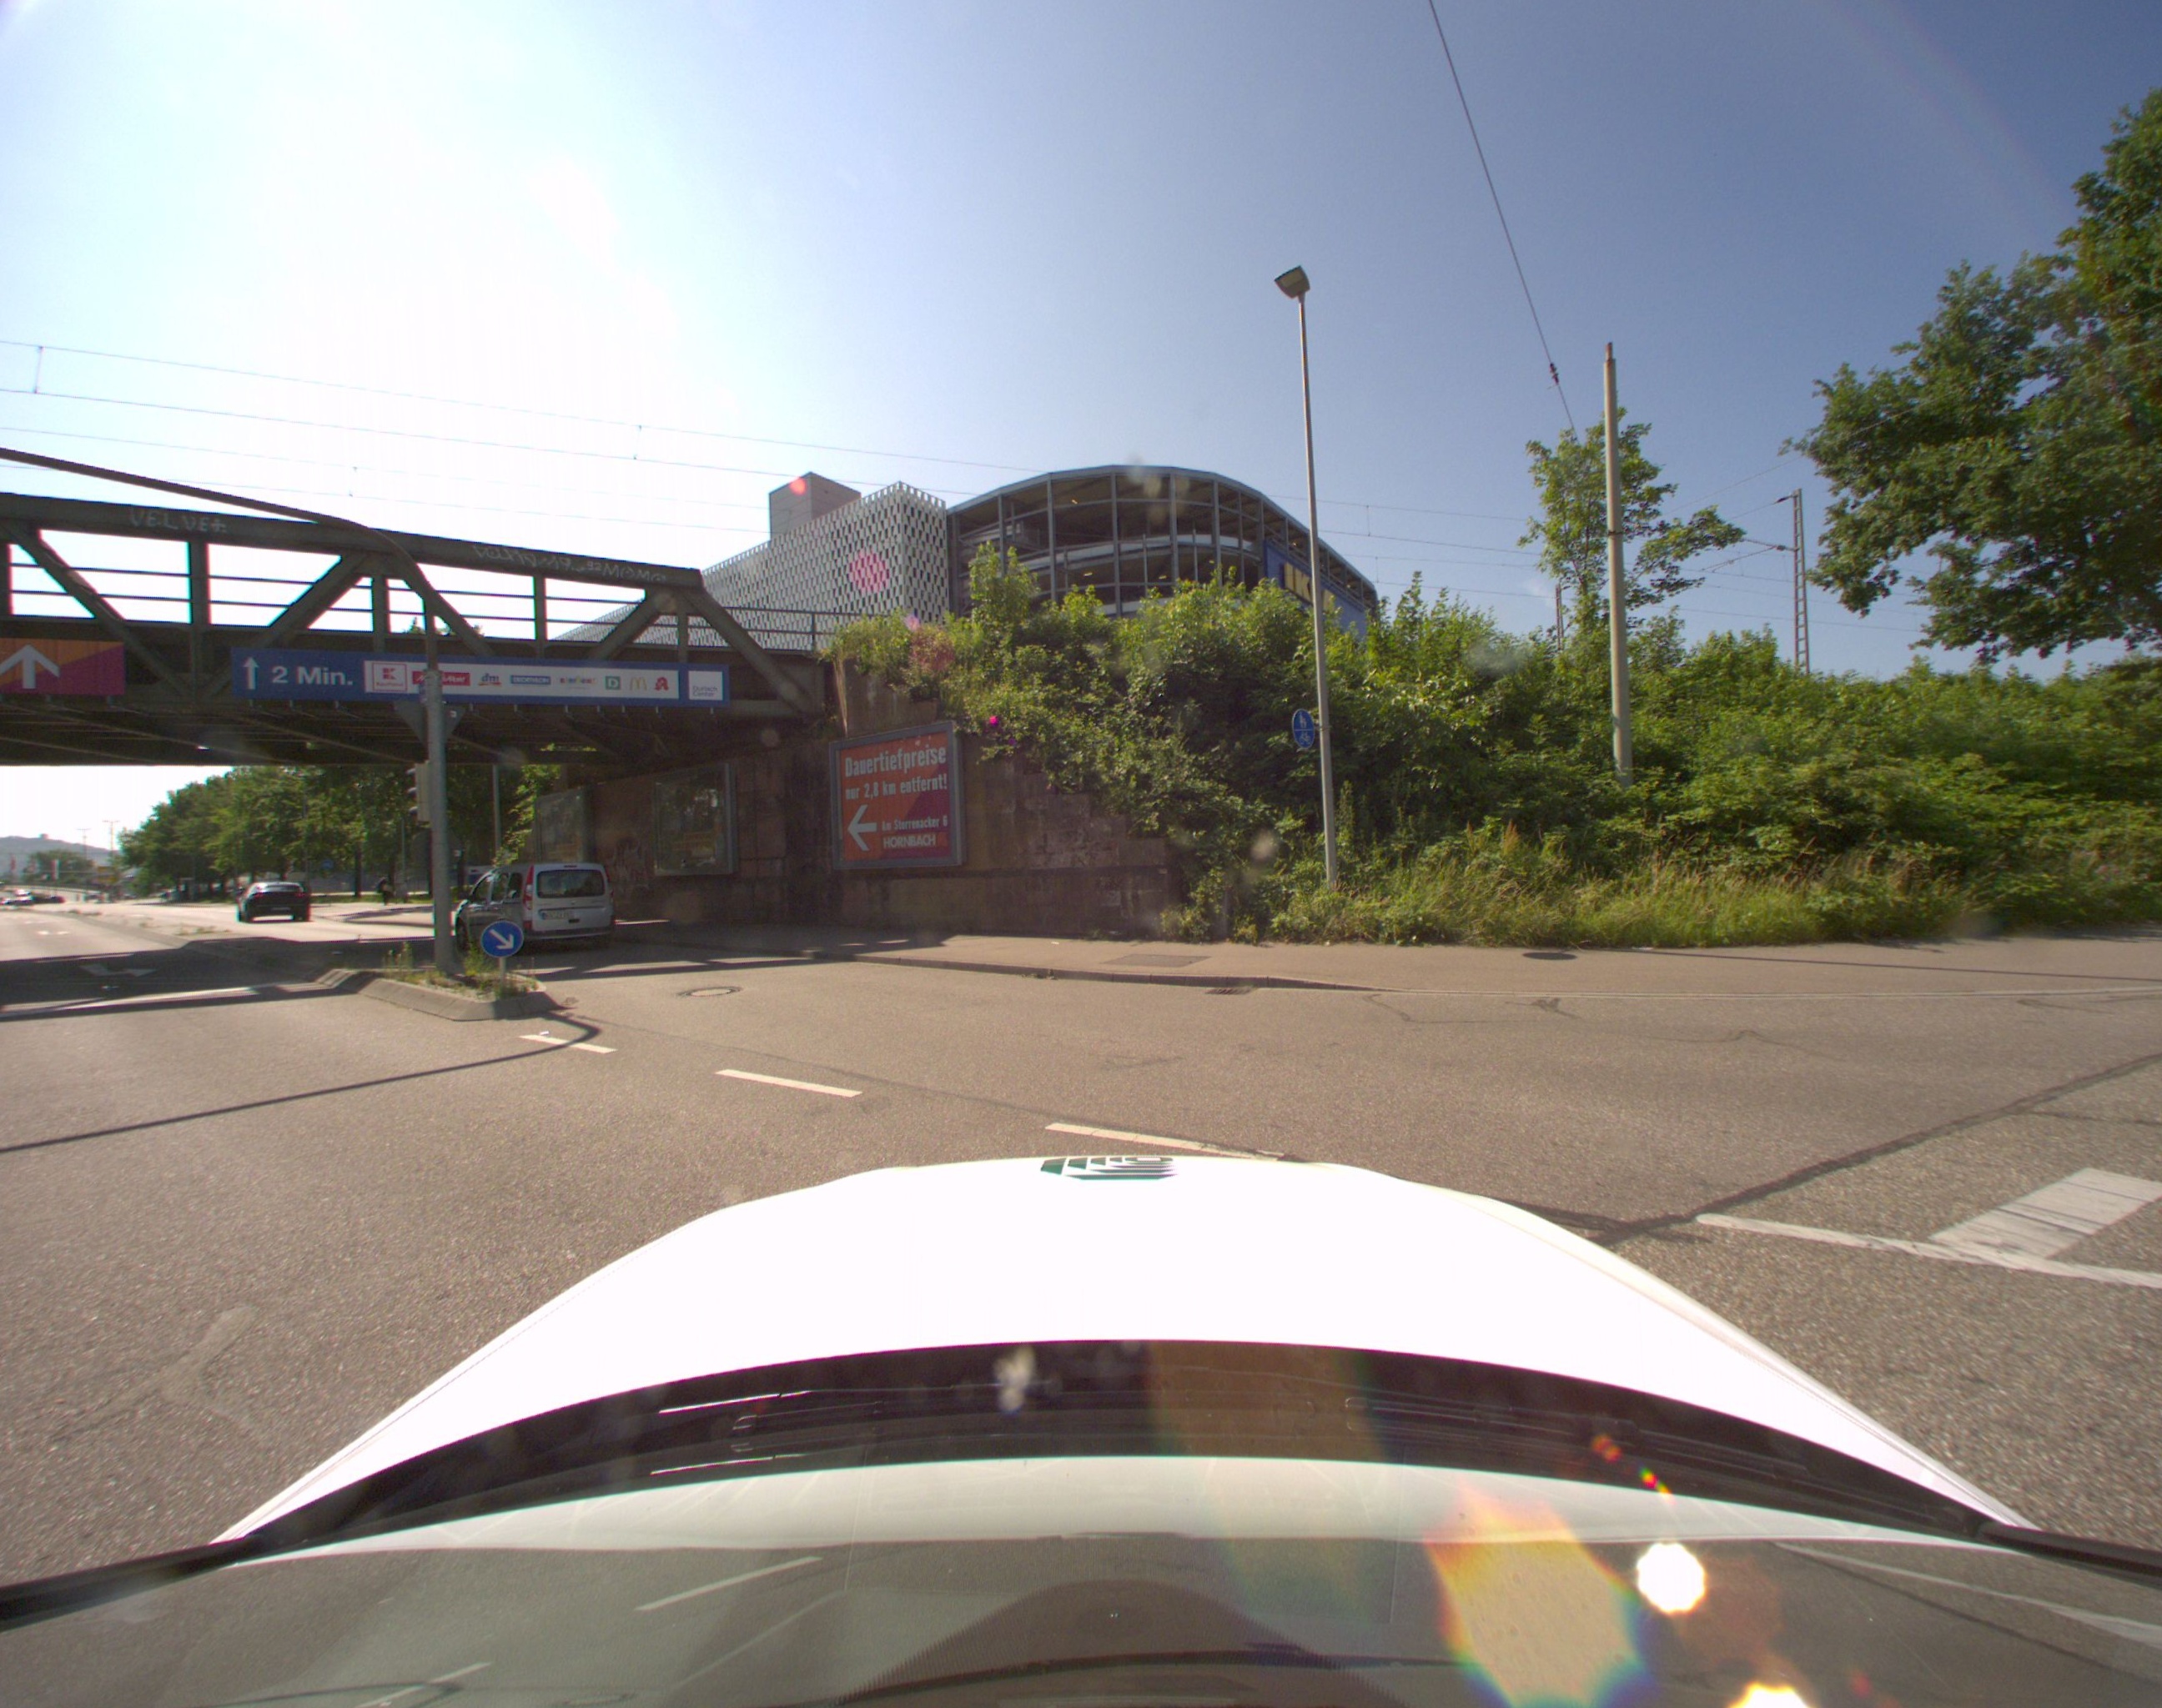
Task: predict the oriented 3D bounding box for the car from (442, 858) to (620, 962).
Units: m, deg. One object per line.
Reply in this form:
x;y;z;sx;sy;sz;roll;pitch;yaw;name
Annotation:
-11.424;1.059;16.855;3.948;1.837;1.804;-1;1;37;car

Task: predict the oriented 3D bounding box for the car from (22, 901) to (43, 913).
-164.178;8.293;127.564;4.174;1.662;1.949;-3;0;39;car

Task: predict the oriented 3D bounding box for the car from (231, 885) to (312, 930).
-33.762;2.191;33.953;4.174;1.662;1.949;-3;0;40;car
